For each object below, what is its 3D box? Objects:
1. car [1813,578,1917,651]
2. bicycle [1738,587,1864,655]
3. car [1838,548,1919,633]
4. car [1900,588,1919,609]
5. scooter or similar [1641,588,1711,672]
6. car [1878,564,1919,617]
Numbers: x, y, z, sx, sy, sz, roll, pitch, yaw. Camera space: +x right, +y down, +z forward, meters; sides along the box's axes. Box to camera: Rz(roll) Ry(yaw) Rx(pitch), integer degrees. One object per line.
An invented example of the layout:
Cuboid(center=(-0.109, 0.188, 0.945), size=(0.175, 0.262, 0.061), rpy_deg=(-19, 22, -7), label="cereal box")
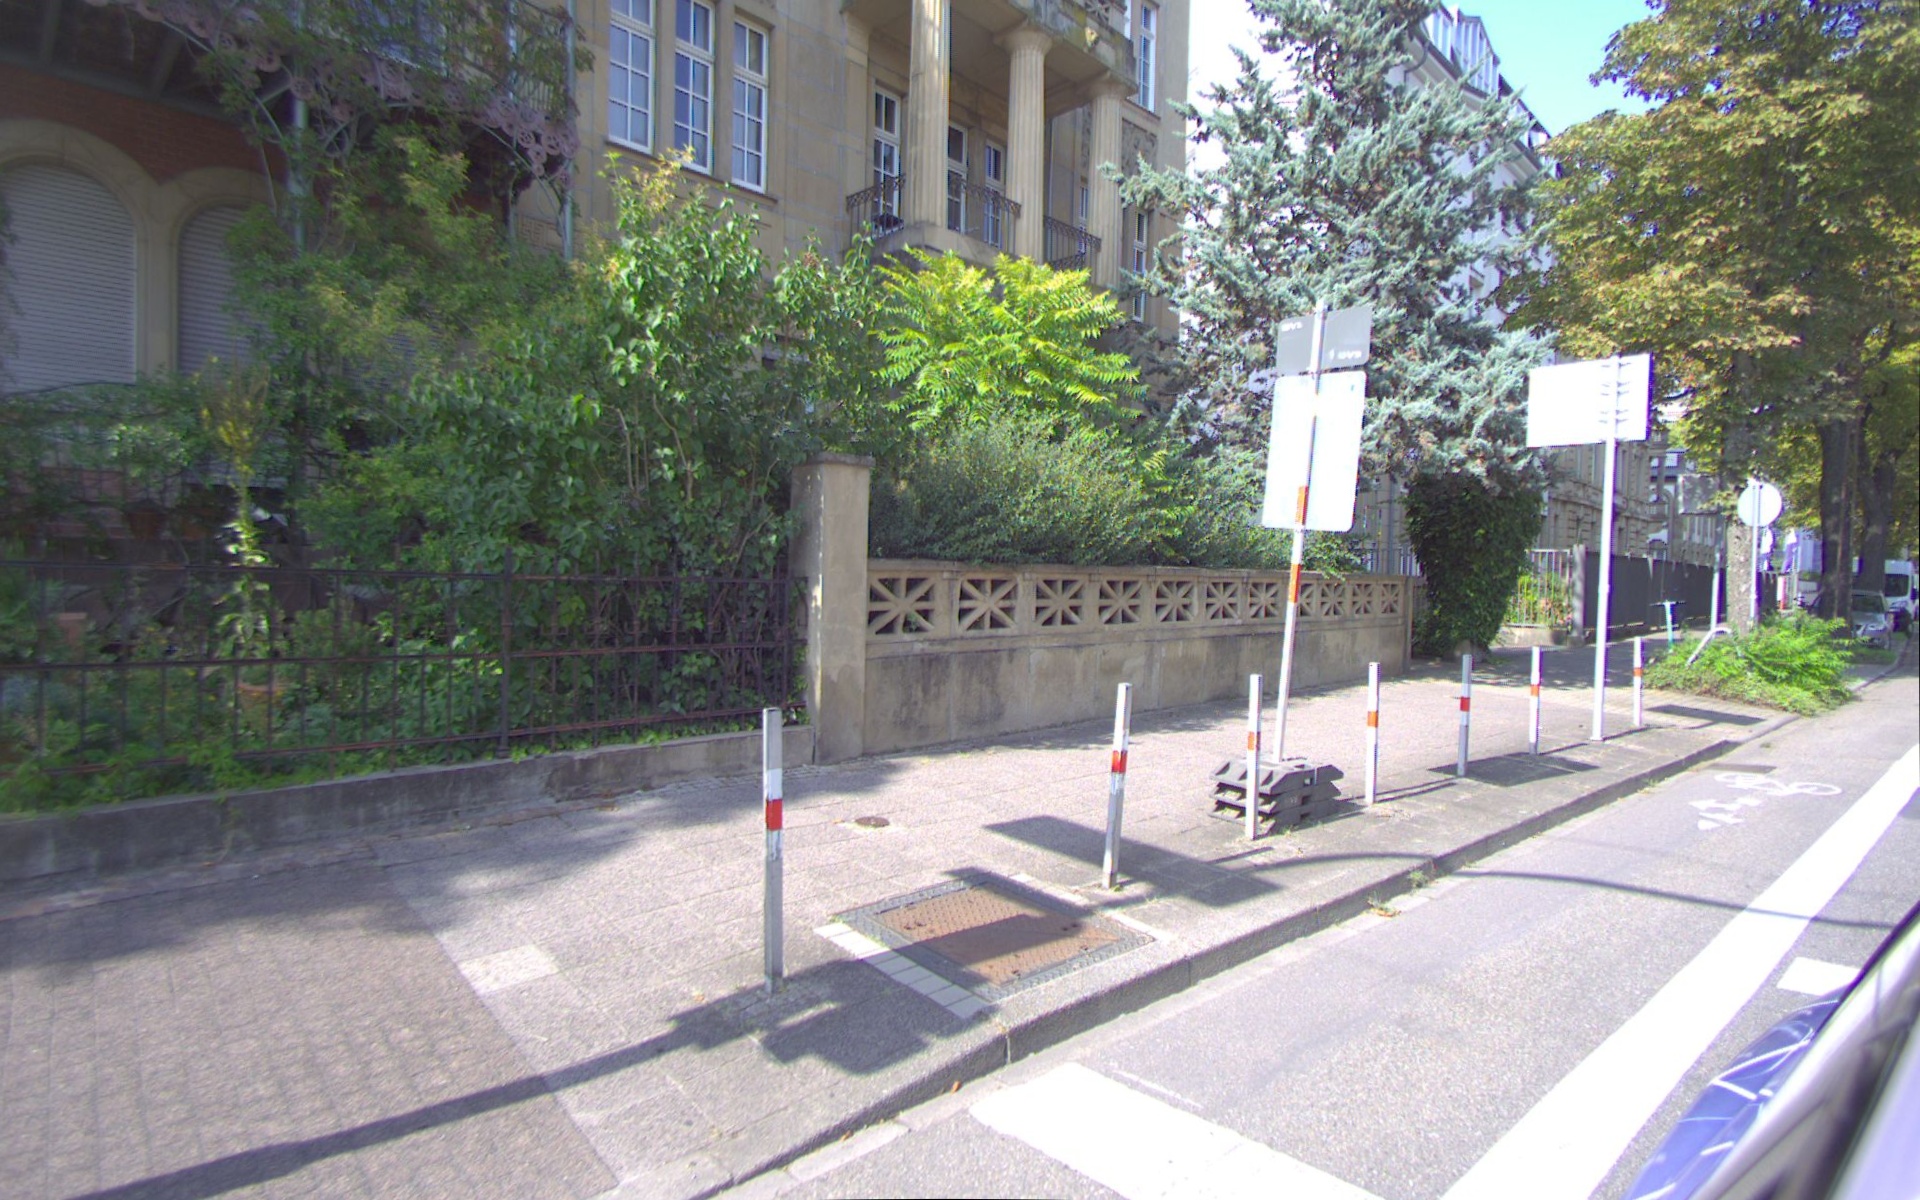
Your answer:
Cuboid(center=(22.447, 0.301, 25.051), size=(1.608, 1.542, 4.287), rpy_deg=(7, 6, 44), label="car")
Cuboid(center=(16.692, 0.410, 20.119), size=(1.810, 1.179, 0.505), rpy_deg=(4, 7, 5), label="bicycle")
Cuboid(center=(30.556, -0.331, 33.278), size=(2.047, 2.529, 6.129), rpy_deg=(4, 3, 44), label="car")
Cuboid(center=(68.460, -0.113, 72.364), size=(1.753, 1.373, 3.729), rpy_deg=(3, 3, 43), label="car")
Cuboid(center=(11.111, 0.441, 15.706), size=(1.016, 1.211, 0.559), rpy_deg=(0, 5, -40), label="scooter or similar")
Cuboid(center=(49.065, -0.487, 52.311), size=(5.772, 2.571, 1.996), rpy_deg=(0, 4, -45), label="car")
